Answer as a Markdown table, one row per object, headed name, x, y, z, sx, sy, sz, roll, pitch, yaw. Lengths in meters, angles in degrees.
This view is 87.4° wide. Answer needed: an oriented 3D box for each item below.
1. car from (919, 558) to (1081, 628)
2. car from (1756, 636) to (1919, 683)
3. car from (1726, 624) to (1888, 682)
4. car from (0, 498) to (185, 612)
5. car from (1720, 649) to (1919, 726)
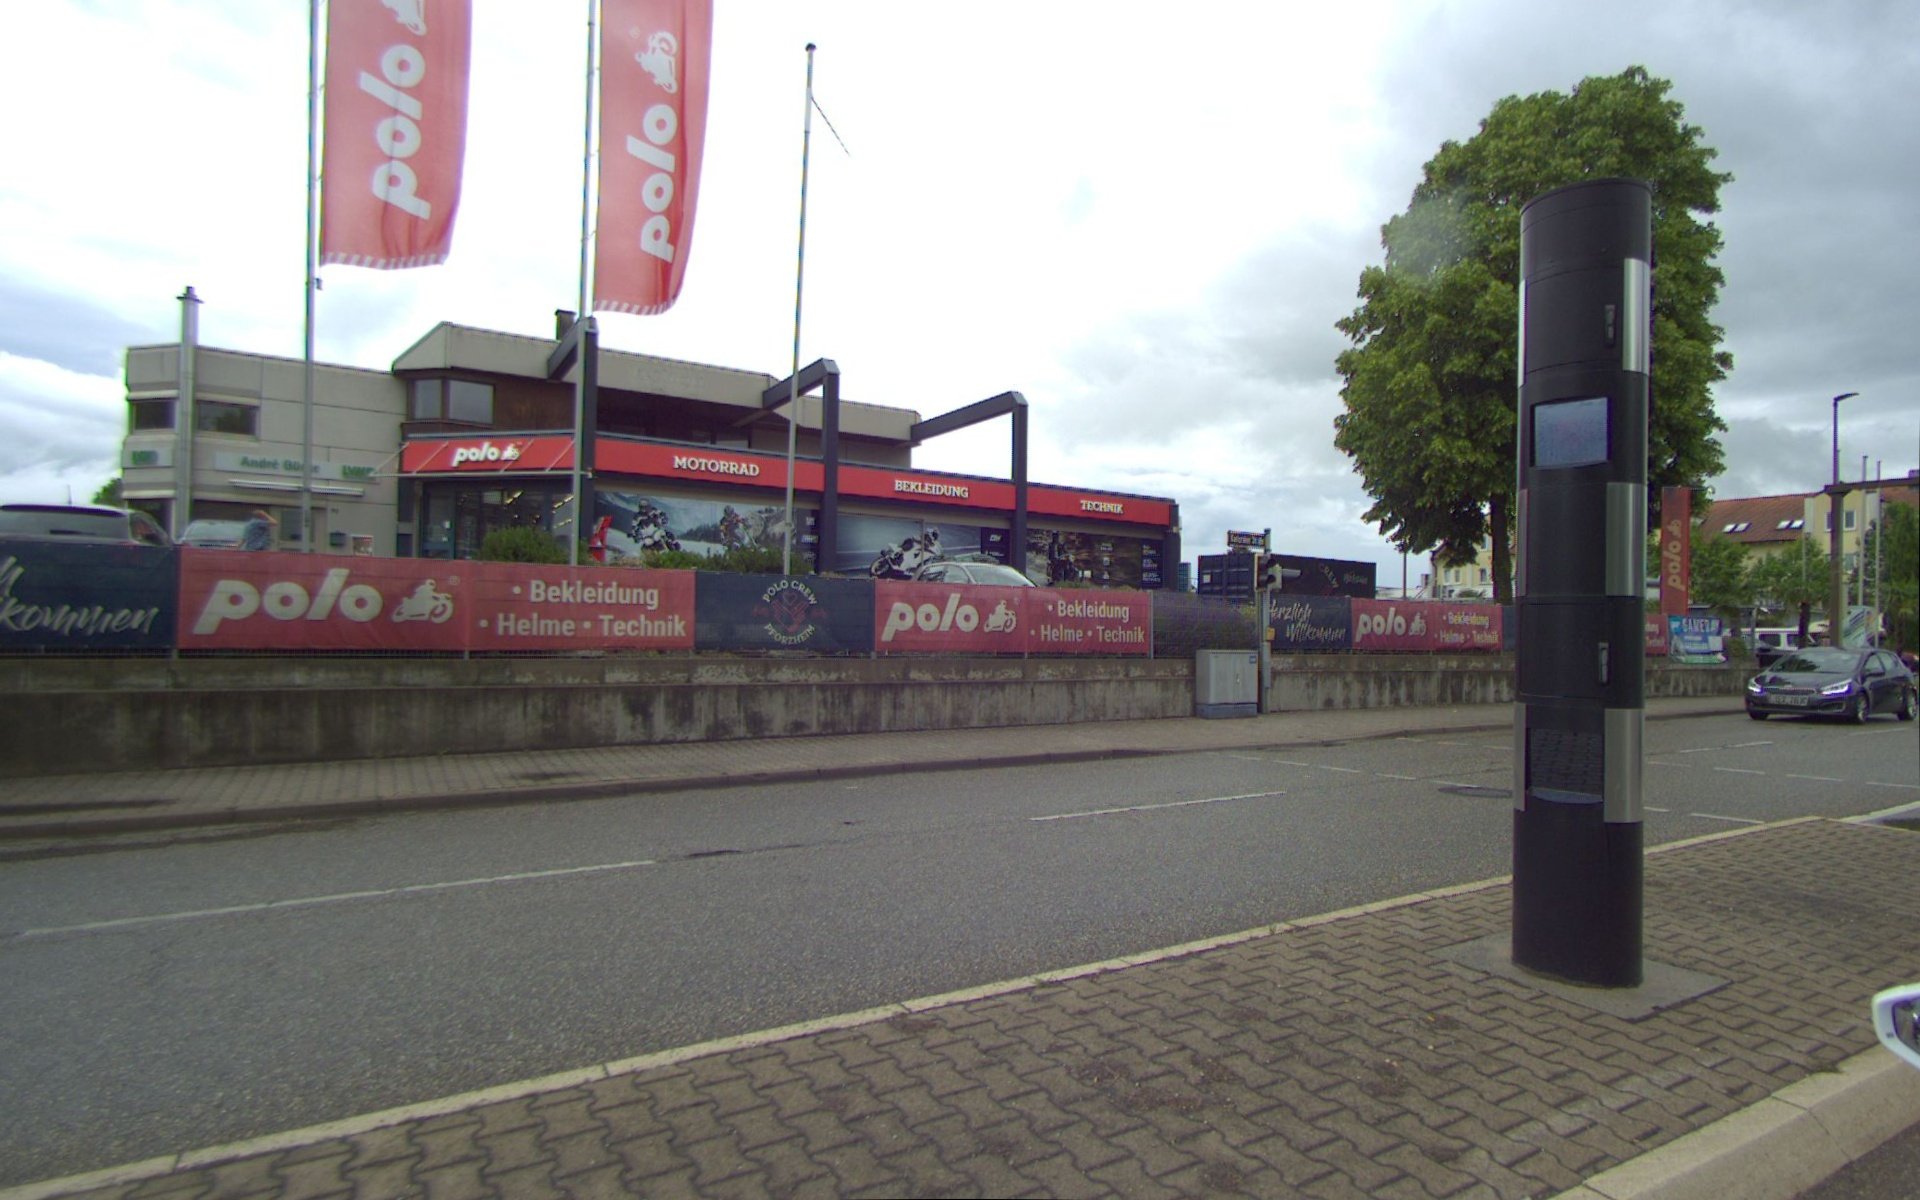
| name | x | y | z | sx | sy | sz | roll | pitch | yaw |
| --- | --- | --- | --- | --- | --- | --- | --- | --- | --- |
| car | 0.665 | -0.084 | 18.949 | 1.438 | 1.183 | 3.368 | 1 | -1 | -32 |
| car | 34.764 | 2.330 | 39.727 | 4.927 | 1.724 | 1.996 | -1 | -5 | 33 |
| car | 31.419 | 1.951 | 37.458 | 4.324 | 2.040 | 1.996 | -2 | -3 | 32 |
| car | -10.645 | -0.455 | 12.320 | 1.438 | 1.183 | 3.368 | 1 | -1 | -32 |
| car | 17.481 | 1.707 | 20.352 | 4.077 | 1.397 | 1.908 | 2 | -3 | -31 |
